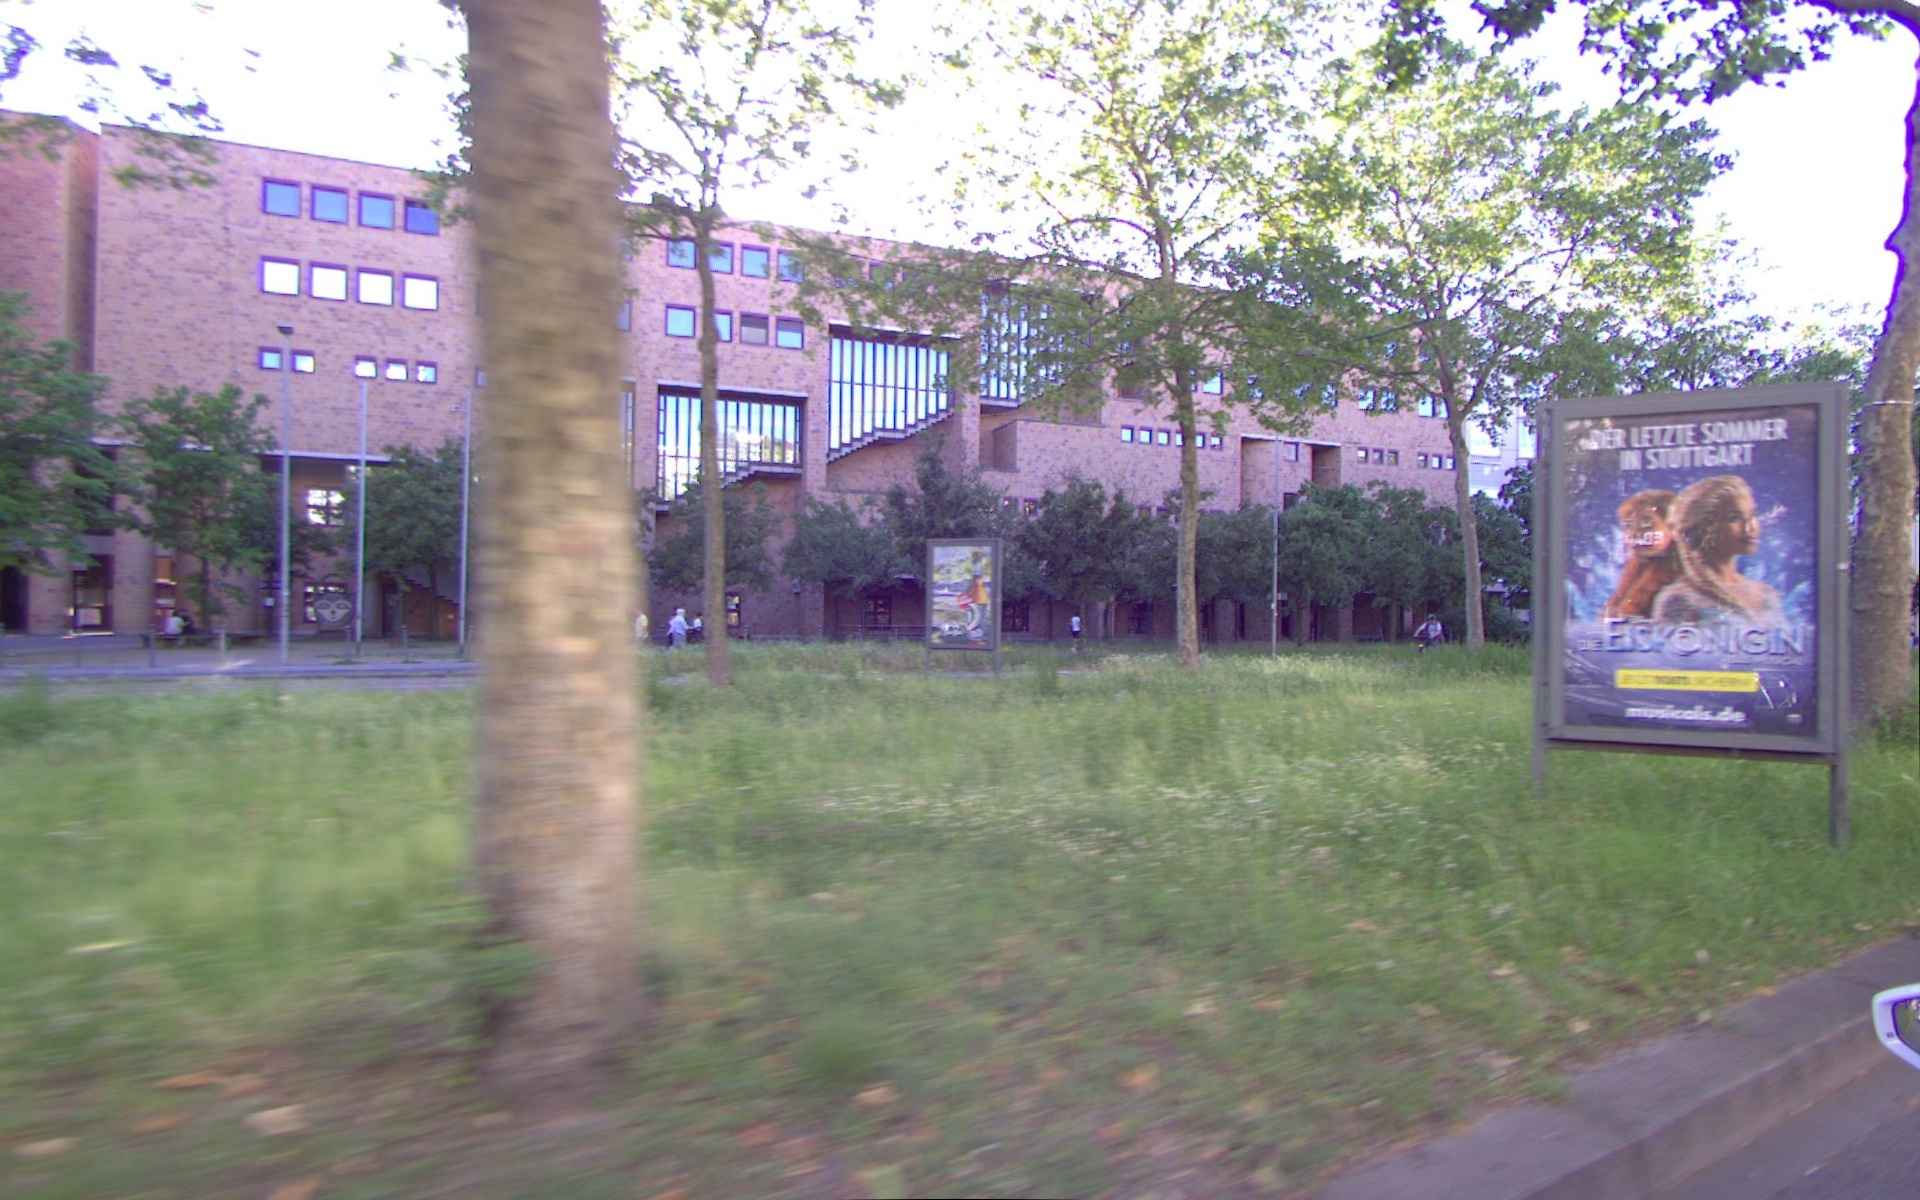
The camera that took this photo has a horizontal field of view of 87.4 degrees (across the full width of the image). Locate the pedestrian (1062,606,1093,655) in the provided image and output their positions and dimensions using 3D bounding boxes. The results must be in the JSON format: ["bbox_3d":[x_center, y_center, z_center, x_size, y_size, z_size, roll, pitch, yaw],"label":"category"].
[{"bbox_3d":[4.524,1.169,38.721,0.890,1.855,0.820,1,-1,-29],"label":"pedestrian"}]

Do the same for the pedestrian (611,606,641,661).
[{"bbox_3d":[-10.075,0.997,30.307,0.747,1.638,0.661,1,-1,-29],"label":"pedestrian"}]

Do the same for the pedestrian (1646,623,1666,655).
[{"bbox_3d":[39.655,2.208,57.214,0.639,1.763,0.726,1,-1,-26],"label":"pedestrian"}]

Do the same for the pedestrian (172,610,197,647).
[{"bbox_3d":[-25.837,0.935,33.445,0.625,1.214,0.658,1,-1,-40],"label":"pedestrian"}]

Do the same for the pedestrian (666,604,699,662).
[{"bbox_3d":[-8.449,1.009,30.581,0.787,1.745,0.660,1,-1,-31],"label":"pedestrian"}]

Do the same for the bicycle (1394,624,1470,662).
[{"bbox_3d":[14.872,1.359,31.642,2.407,1.141,0.952,2,-1,-30],"label":"bicycle"}]

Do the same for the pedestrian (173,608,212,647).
[{"bbox_3d":[-25.064,0.890,32.815,0.741,1.267,0.666,1,-1,2],"label":"pedestrian"}]

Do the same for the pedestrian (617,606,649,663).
[{"bbox_3d":[-9.654,1.015,29.612,0.748,1.638,0.660,1,-1,-31],"label":"pedestrian"}]

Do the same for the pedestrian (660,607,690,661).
[{"bbox_3d":[-8.844,1.055,31.162,0.748,1.638,0.660,1,-1,-31],"label":"pedestrian"}]

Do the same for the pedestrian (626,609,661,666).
[{"bbox_3d":[-9.153,1.075,29.080,0.750,1.638,0.658,1,-1,-40],"label":"pedestrian"}]

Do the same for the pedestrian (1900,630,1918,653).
[{"bbox_3d":[72.153,3.151,76.339,0.776,1.660,0.706,1,0,-19],"label":"pedestrian"}]

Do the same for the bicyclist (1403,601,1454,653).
[{"bbox_3d":[14.739,0.841,31.575,1.195,1.592,0.937,1,-1,-30],"label":"bicyclist"}]
